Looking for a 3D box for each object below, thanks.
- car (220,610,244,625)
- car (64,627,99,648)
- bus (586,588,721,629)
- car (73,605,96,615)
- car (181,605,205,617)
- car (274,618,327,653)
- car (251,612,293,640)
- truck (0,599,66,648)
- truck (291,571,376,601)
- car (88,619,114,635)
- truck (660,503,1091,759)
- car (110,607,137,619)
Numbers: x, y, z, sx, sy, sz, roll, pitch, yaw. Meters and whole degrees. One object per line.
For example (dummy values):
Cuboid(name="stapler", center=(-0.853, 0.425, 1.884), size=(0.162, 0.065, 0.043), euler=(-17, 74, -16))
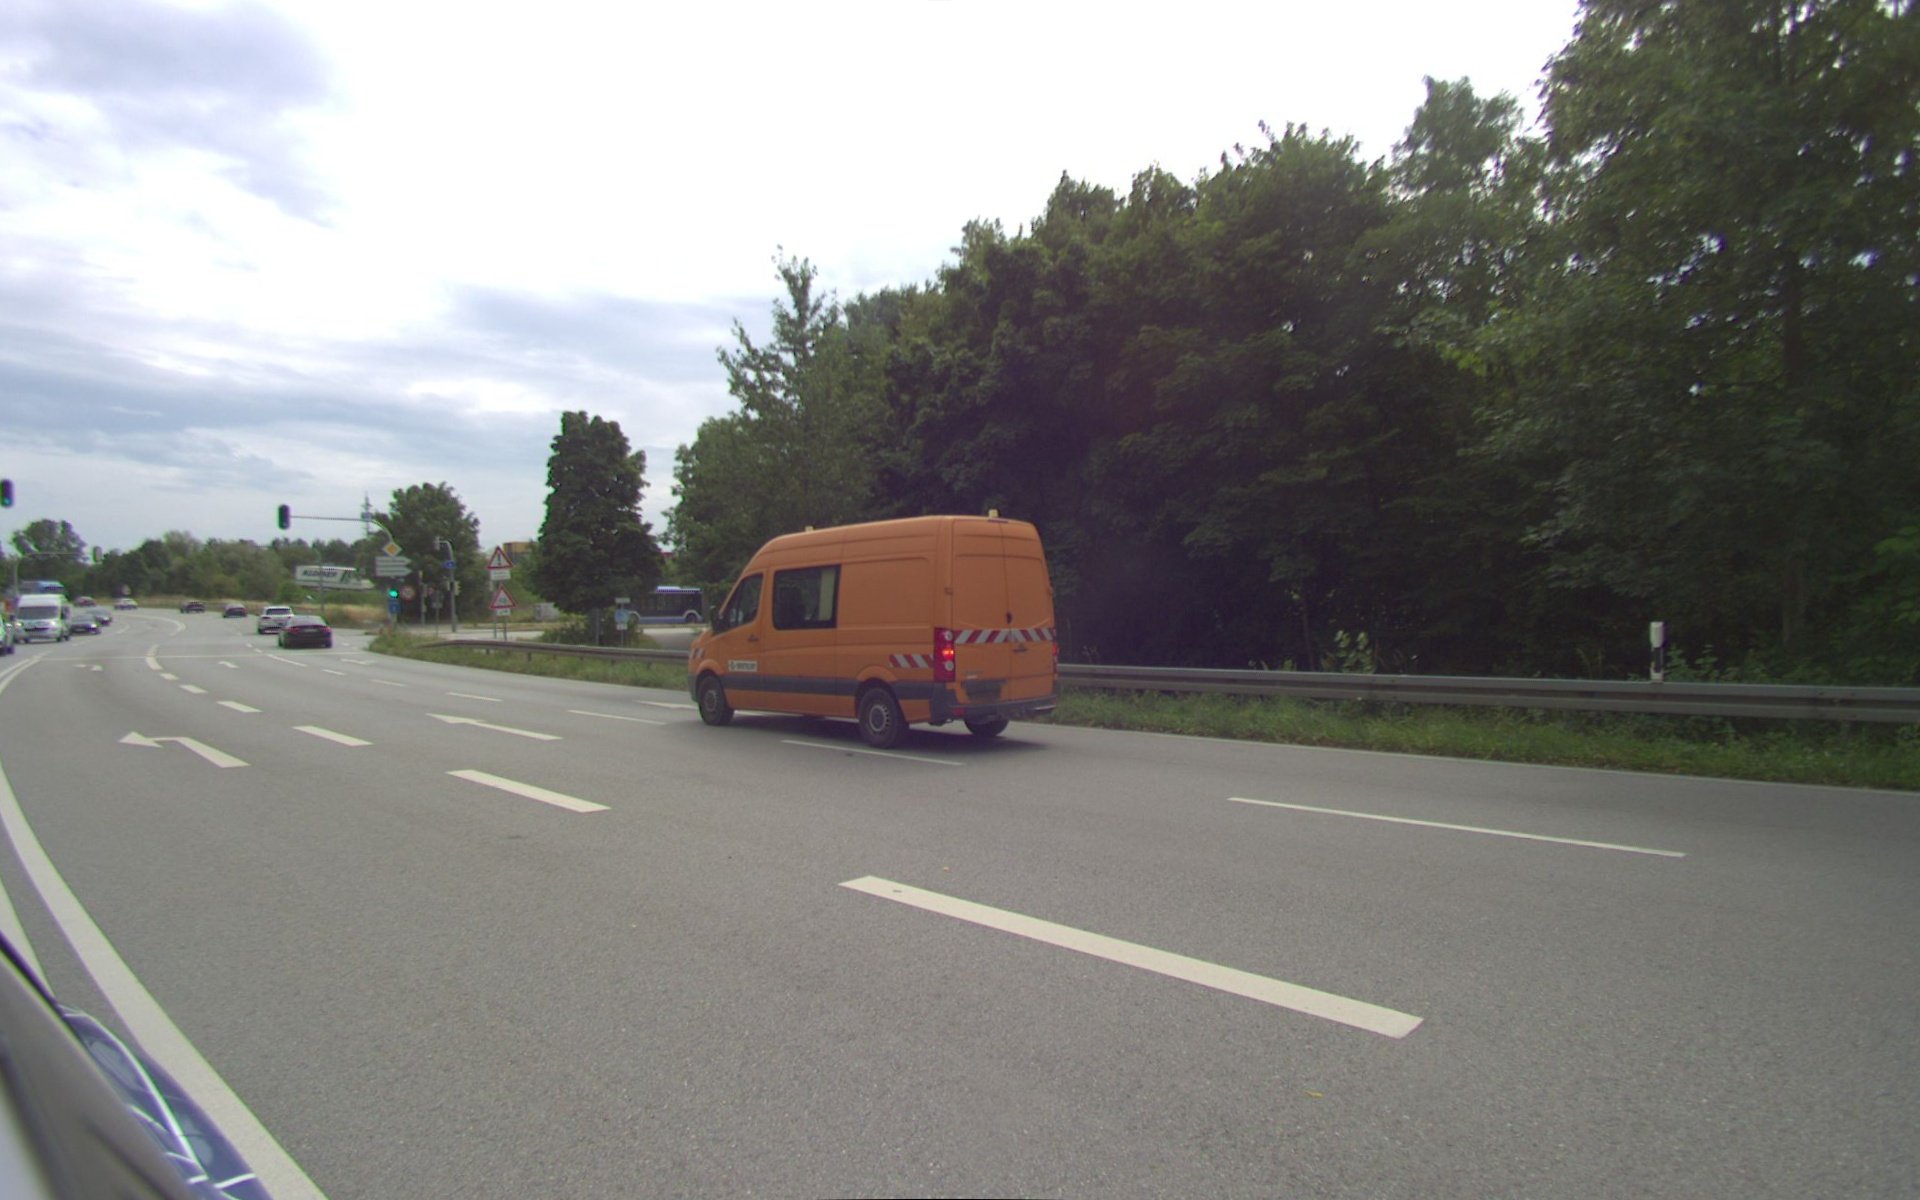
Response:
Cuboid(name="car", center=(-74.564, 1.750, 103.683), size=(1.718, 1.497, 4.207), euler=(0, 0, -40))
Cuboid(name="car", center=(-60.498, 2.577, 69.745), size=(1.718, 1.335, 4.006), euler=(3, -3, -40))
Cuboid(name="bus", center=(-23.899, 0.605, 79.443), size=(3.121, 3.069, 9.932), euler=(-1, 0, 42))
Cuboid(name="car", center=(-131.597, 1.493, 152.174), size=(3.992, 1.395, 1.725), euler=(0, 2, 36))
Cuboid(name="car", center=(-93.372, 1.298, 123.175), size=(4.000, 1.396, 1.721), euler=(0, 2, 43))
Cuboid(name="car", center=(-30.463, 1.621, 46.710), size=(1.695, 1.509, 4.557), euler=(1, -2, -38))
Cuboid(name="car", center=(-43.027, 1.621, 63.235), size=(1.834, 1.656, 4.746), euler=(1, -2, -38))
Cuboid(name="truck", center=(-52.112, 1.282, 56.974), size=(2.342, 2.613, 6.010), euler=(0, -1, -38))
Cuboid(name="truck", center=(-106.867, -2.342, 172.580), size=(14.075, 4.357, 3.348), euler=(3, 1, 14))
Cuboid(name="car", center=(-77.273, 2.435, 91.035), size=(1.718, 1.335, 4.006), euler=(3, -3, -40))
Cuboid(name="truck", center=(-1.400, 0.376, 13.334), size=(2.289, 2.621, 6.027), euler=(-1, -1, -45))
Cuboid(name="car", center=(-115.835, 1.793, 140.175), size=(3.988, 1.497, 1.726), euler=(-1, 2, 33))
